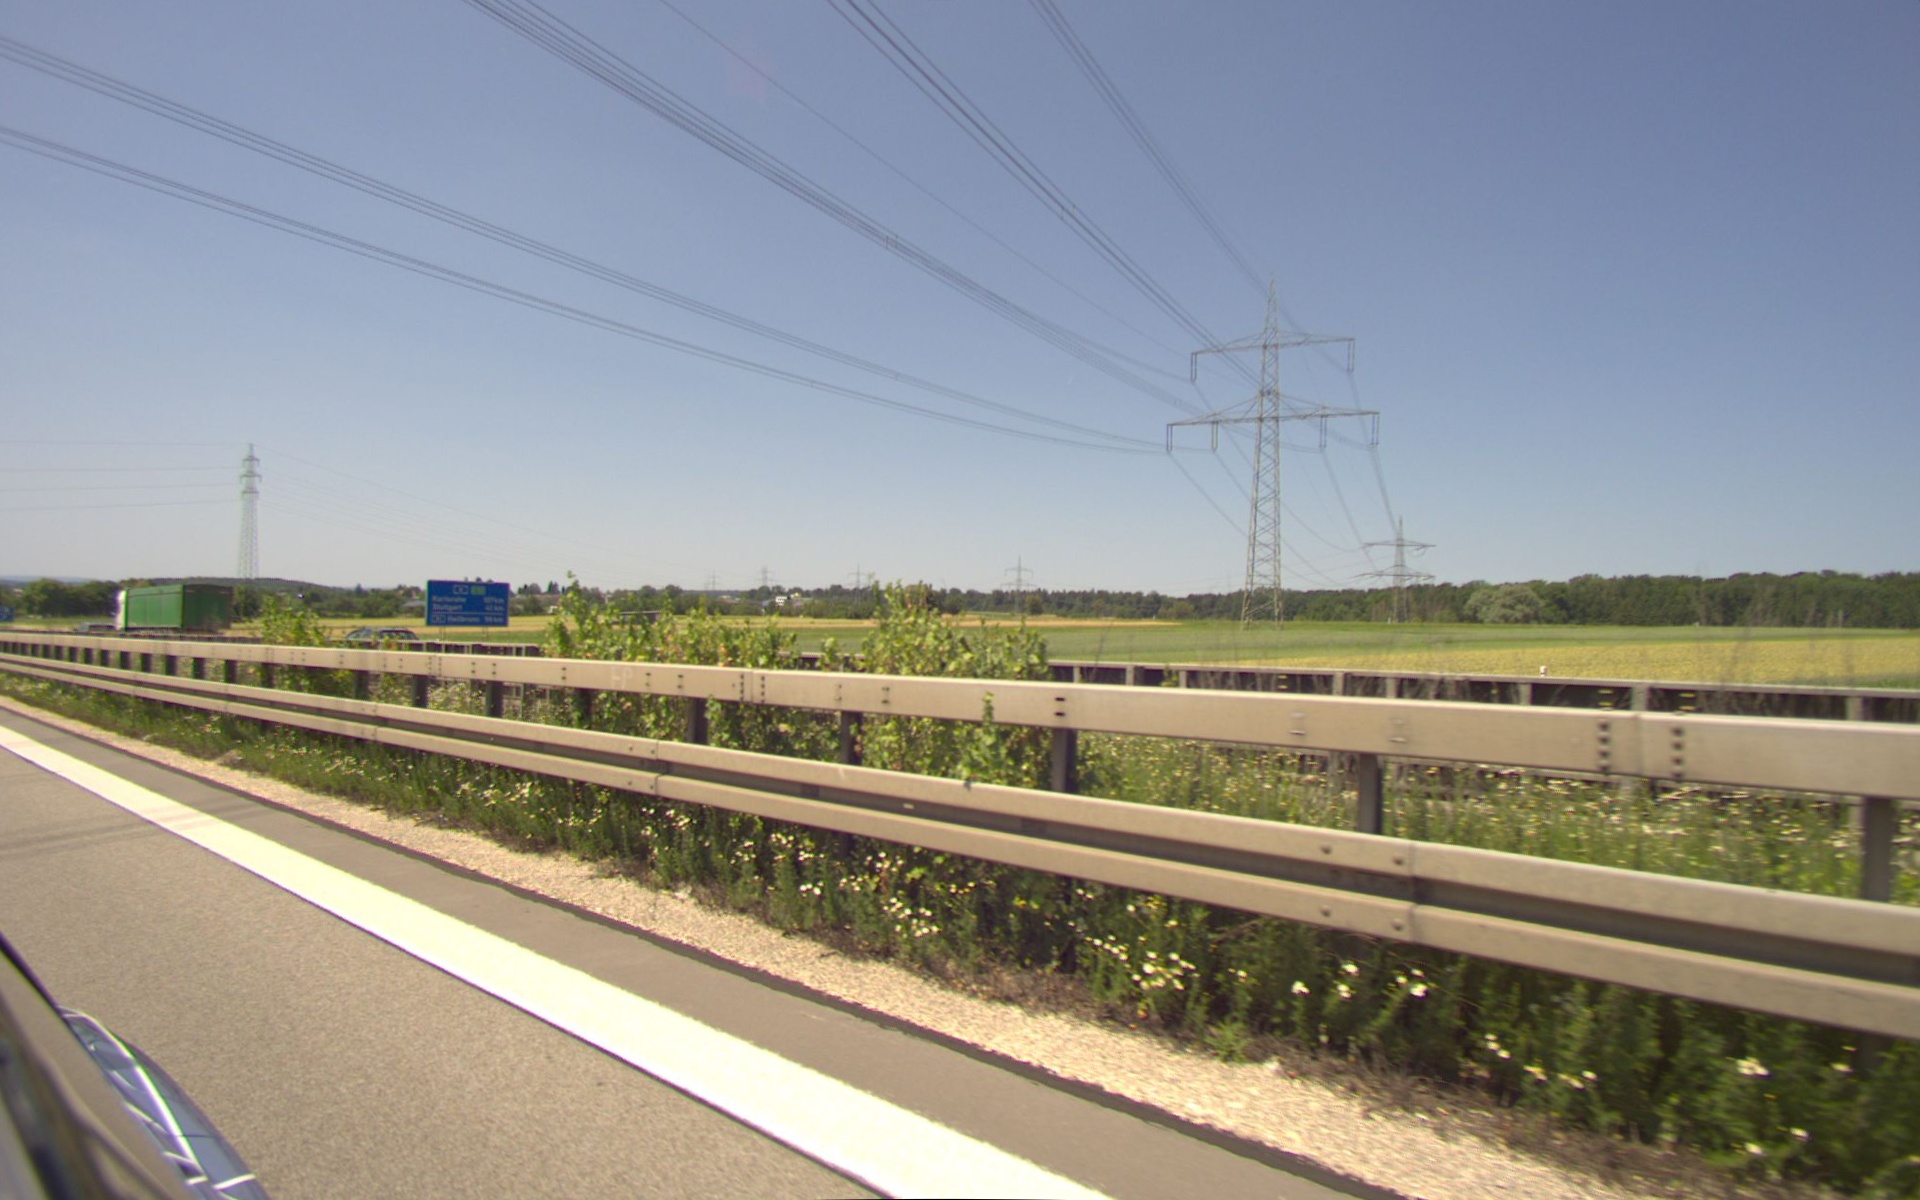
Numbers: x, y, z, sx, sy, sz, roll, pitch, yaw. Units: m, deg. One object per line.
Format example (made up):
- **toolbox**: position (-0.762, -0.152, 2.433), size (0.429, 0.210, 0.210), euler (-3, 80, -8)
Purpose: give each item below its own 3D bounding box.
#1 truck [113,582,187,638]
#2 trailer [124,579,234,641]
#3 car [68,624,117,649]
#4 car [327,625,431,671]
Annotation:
- **truck**: position (-54.477, 0.635, 68.054), size (5.894, 3.586, 2.697), euler (0, 0, 39)
- **trailer**: position (-49.567, 0.594, 64.036), size (12.523, 3.621, 2.726), euler (0, 0, 39)
- **car**: position (-52.809, 2.215, 61.579), size (3.997, 1.476, 1.617), euler (-1, -3, 41)
- **car**: position (-19.563, 1.604, 34.036), size (3.996, 1.444, 1.706), euler (-1, -3, 39)
